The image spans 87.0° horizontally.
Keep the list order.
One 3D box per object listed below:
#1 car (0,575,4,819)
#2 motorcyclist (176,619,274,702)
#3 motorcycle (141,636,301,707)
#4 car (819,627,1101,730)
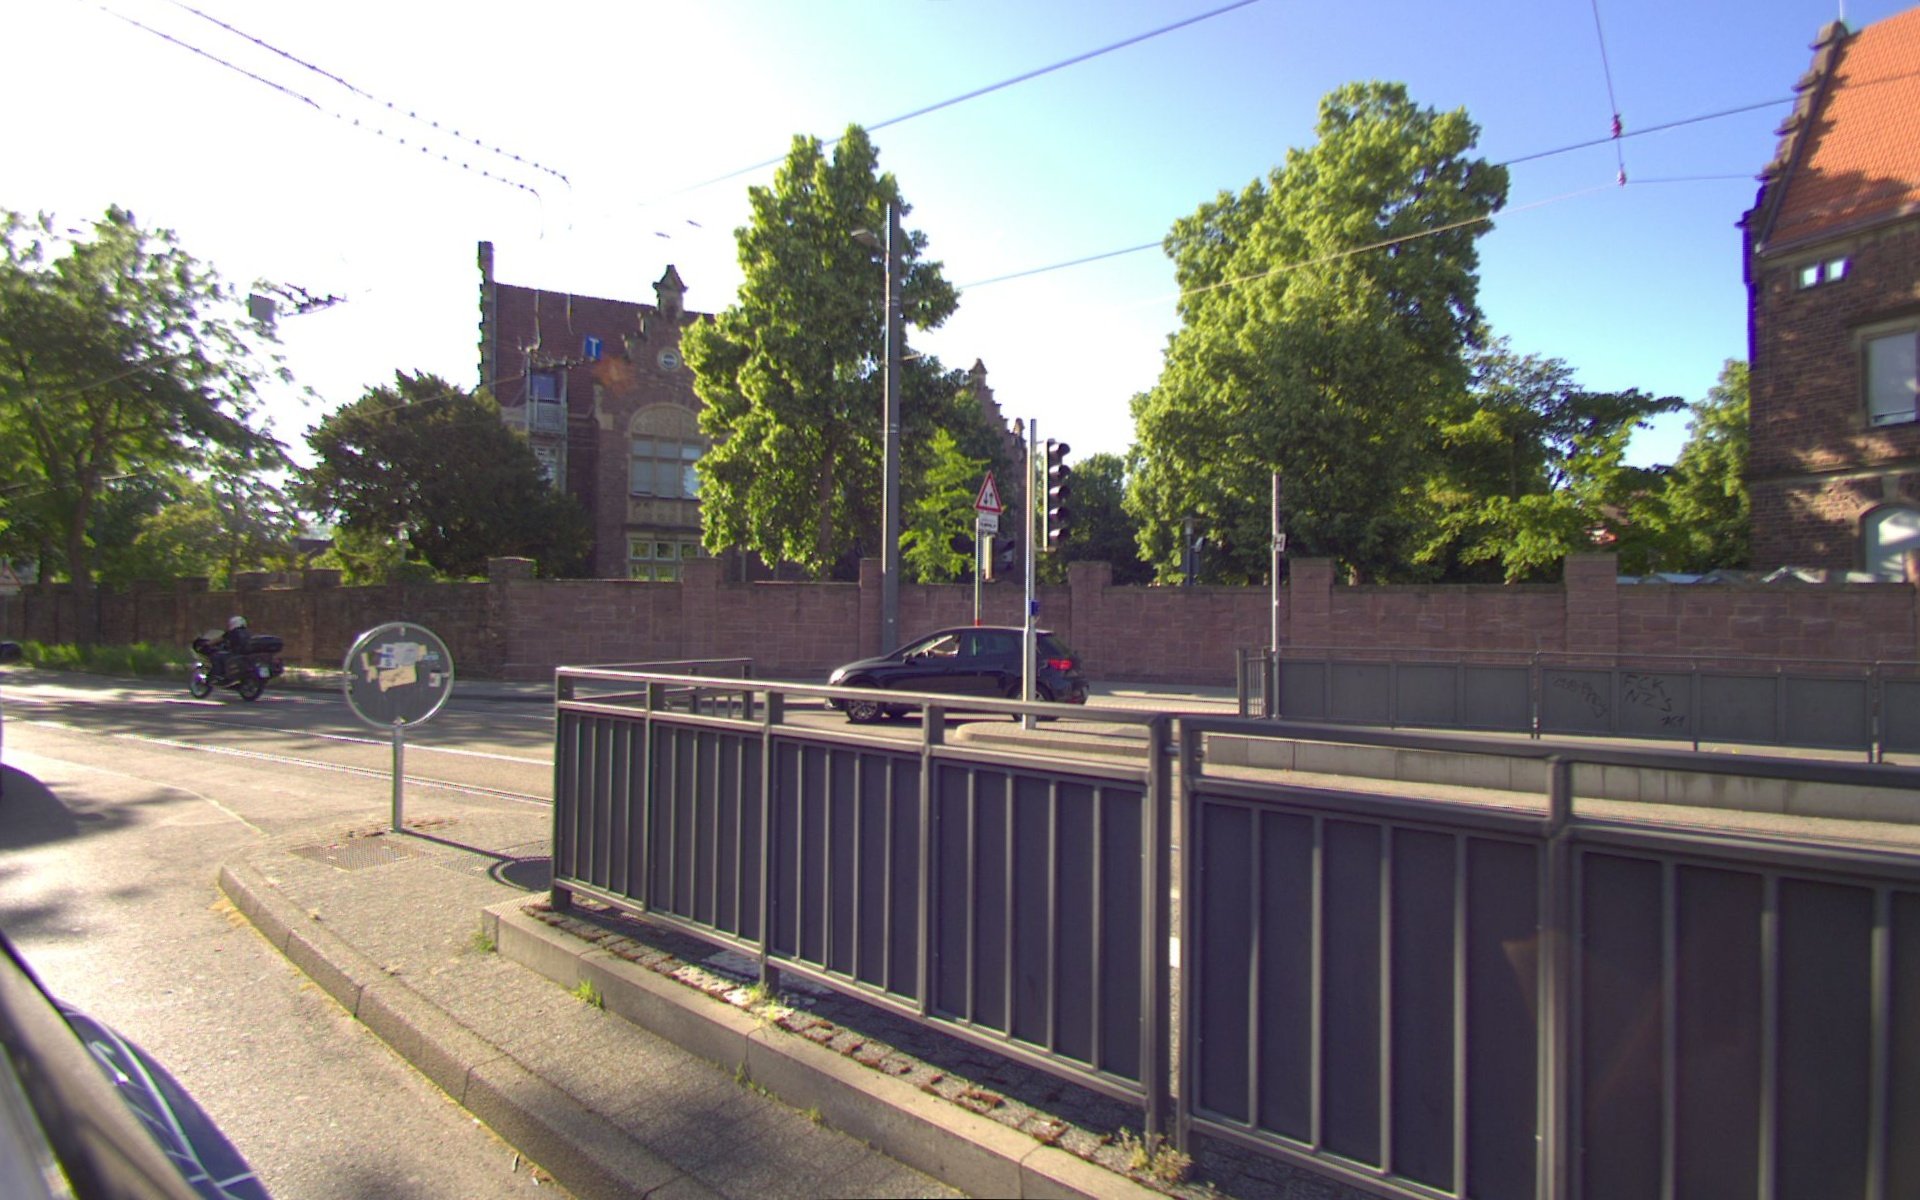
[{"bbox_3d":[-9.323,0.734,8.324,4.334,1.812,1.808,0,0,42],"label":"car"},{"bbox_3d":[-14.189,1.142,19.561,1.045,1.536,1.123,0,-1,14],"label":"motorcyclist"},{"bbox_3d":[-14.275,1.345,19.575,2.549,1.253,1.128,0,-1,15],"label":"motorcycle"},{"bbox_3d":[0.045,1.139,15.323,3.947,1.414,1.851,-1,-3,16],"label":"car"}]
